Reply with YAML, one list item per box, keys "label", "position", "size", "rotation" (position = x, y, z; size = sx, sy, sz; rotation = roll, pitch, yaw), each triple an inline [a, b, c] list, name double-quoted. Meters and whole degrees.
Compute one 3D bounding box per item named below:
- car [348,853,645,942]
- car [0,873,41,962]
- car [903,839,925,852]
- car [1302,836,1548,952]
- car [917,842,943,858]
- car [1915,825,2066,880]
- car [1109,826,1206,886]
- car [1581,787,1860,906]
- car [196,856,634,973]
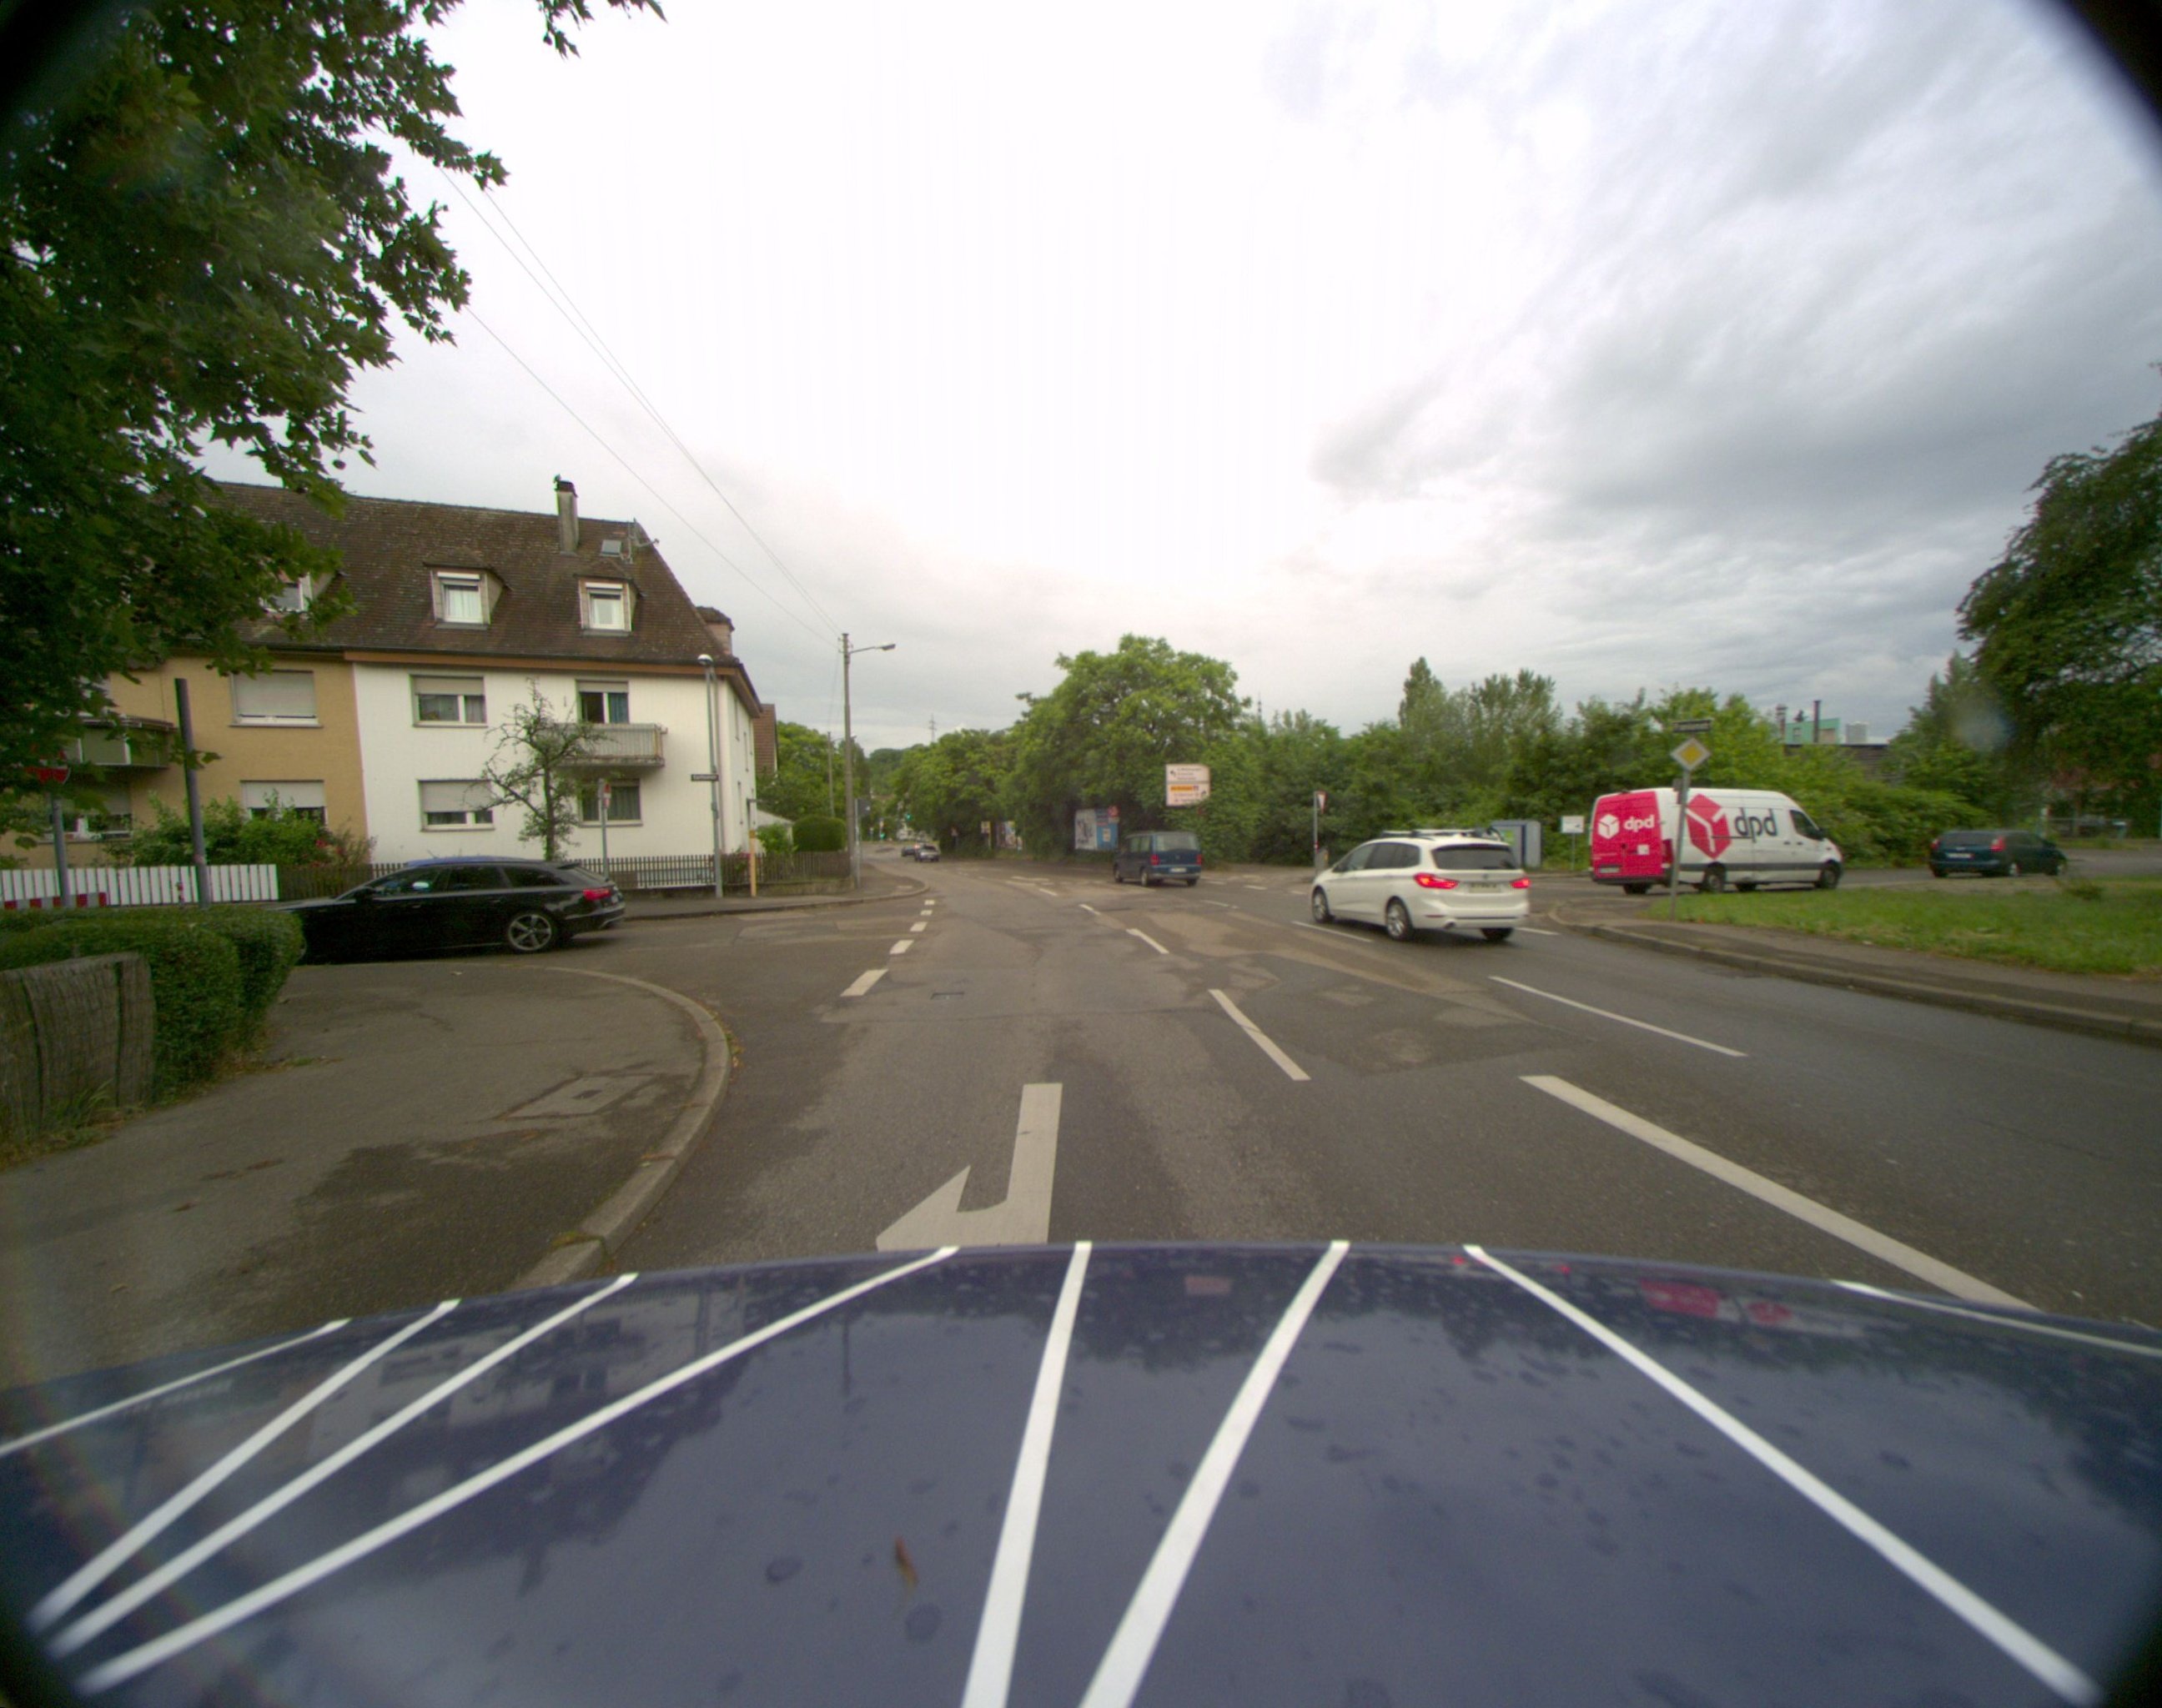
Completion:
- label: "car"
  position: [-11.046, 0.765, 14.753]
  size: [4.130, 1.472, 1.883]
  rotation: [-1, 1, -17]
- label: "car"
  position: [-19.410, 1.101, 11.596]
  size: [3.788, 1.445, 1.769]
  rotation: [-2, 1, -19]
- label: "car"
  position: [-21.969, -1.113, 99.608]
  size: [2.002, 1.434, 4.766]
  rotation: [2, -2, -22]
- label: "car"
  position: [5.490, 0.549, 12.847]
  size: [1.837, 1.569, 4.331]
  rotation: [-2, 0, -6]
- label: "car"
  position: [-14.252, -0.410, 71.443]
  size: [1.902, 1.453, 3.993]
  rotation: [-1, 1, -19]
- label: "car"
  position: [30.268, -0.095, 25.293]
  size: [4.257, 1.620, 1.996]
  rotation: [-2, 2, -22]
- label: "car"
  position: [2.601, 0.028, 27.139]
  size: [1.965, 1.920, 4.677]
  rotation: [-1, 1, -14]
- label: "car"
  position: [16.264, -0.280, 19.312]
  size: [6.829, 2.641, 2.259]
  rotation: [-2, 2, -19]
- label: "car"
  position: [-9.991, 0.813, 12.009]
  size: [4.823, 1.472, 1.882]
  rotation: [-1, 1, -24]
